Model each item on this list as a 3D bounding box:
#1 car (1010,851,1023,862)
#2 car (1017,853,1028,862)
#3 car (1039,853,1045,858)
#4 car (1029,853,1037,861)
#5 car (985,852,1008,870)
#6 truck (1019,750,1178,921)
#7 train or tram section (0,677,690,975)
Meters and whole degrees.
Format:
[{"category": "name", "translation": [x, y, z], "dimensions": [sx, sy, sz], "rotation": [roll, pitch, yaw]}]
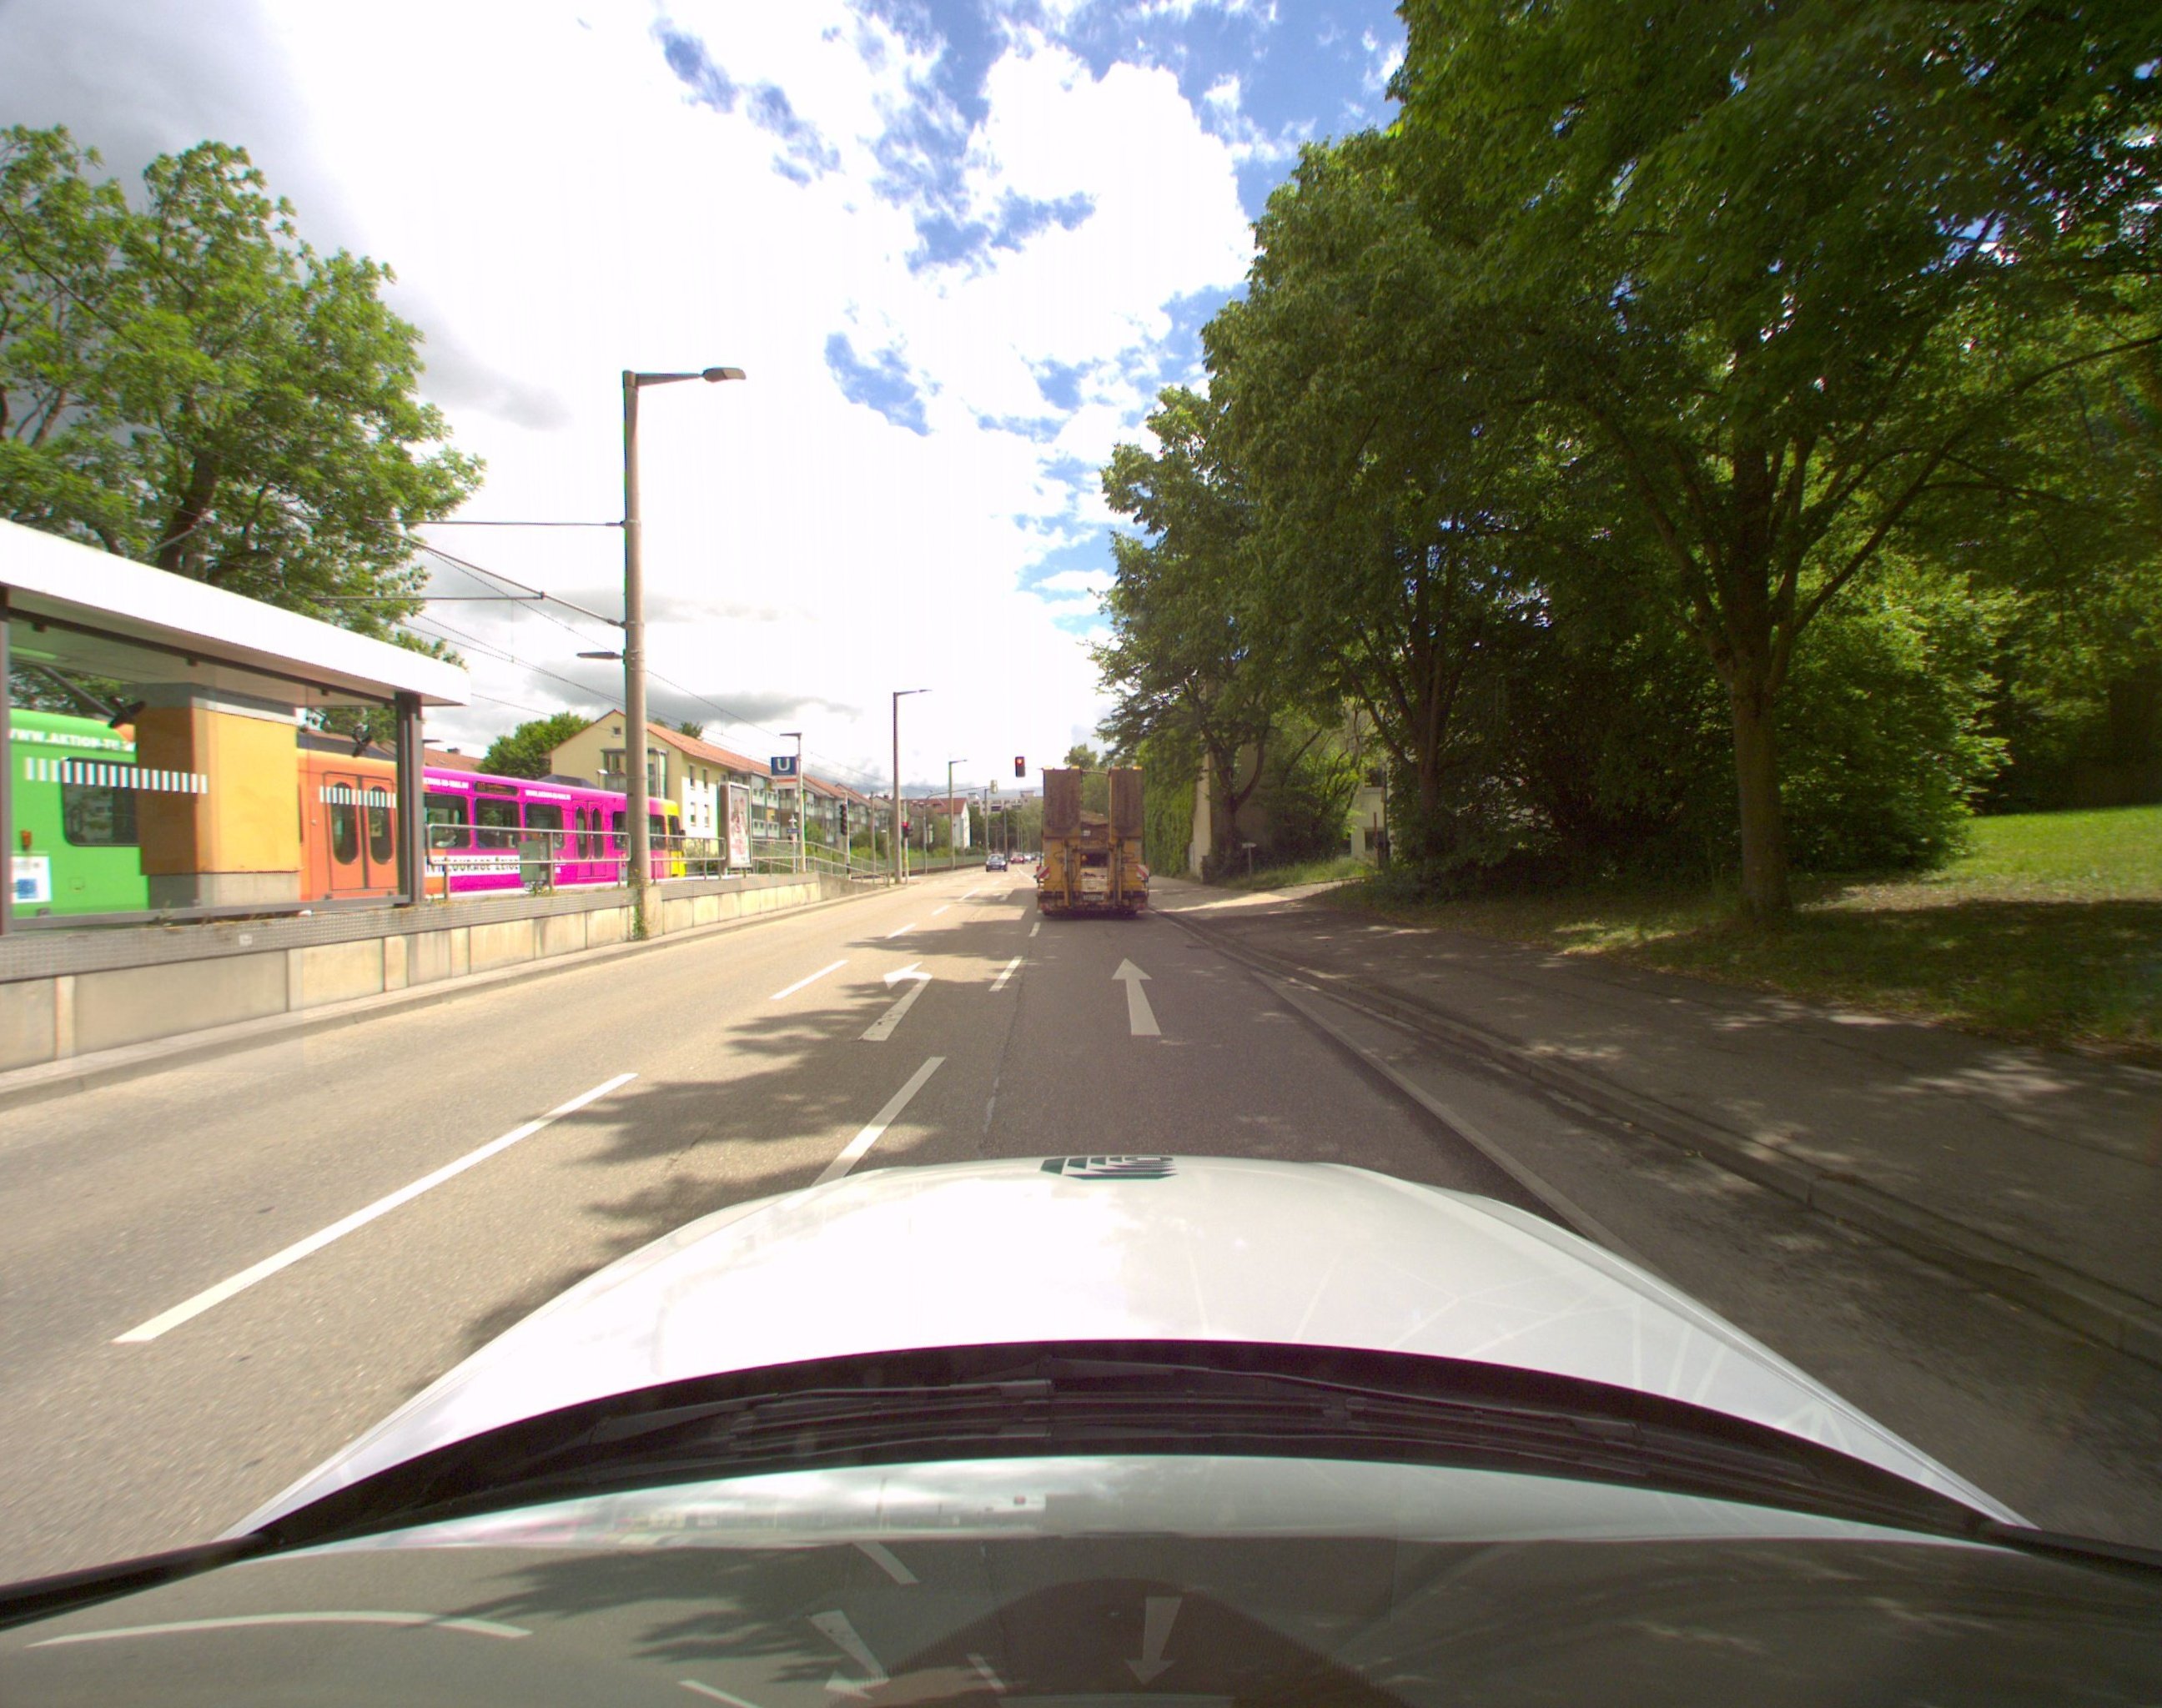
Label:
[{"category": "car", "translation": [-9.025, 0.393, 113.757], "dimensions": [1.663, 1.453, 3.675], "rotation": [0, -1, -3]}, {"category": "car", "translation": [-9.209, 0.564, 128.961], "dimensions": [1.663, 1.453, 3.675], "rotation": [0, -1, -3]}, {"category": "car", "translation": [-10.664, 0.468, 221.103], "dimensions": [1.663, 1.453, 3.675], "rotation": [0, -1, -3]}, {"category": "car", "translation": [-9.428, 0.640, 160.378], "dimensions": [1.663, 1.453, 3.675], "rotation": [0, -1, -3]}, {"category": "car", "translation": [-6.987, 0.592, 67.648], "dimensions": [1.663, 1.453, 3.675], "rotation": [0, -1, -3]}, {"category": "truck", "translation": [-0.111, -0.448, 24.990], "dimensions": [3.397, 3.732, 13.715], "rotation": [-2, 0, -5]}, {"category": "train or tram section", "translation": [-14.463, -0.356, 18.145], "dimensions": [3.100, 3.464, 19.071], "rotation": [0, 0, -3]}]
